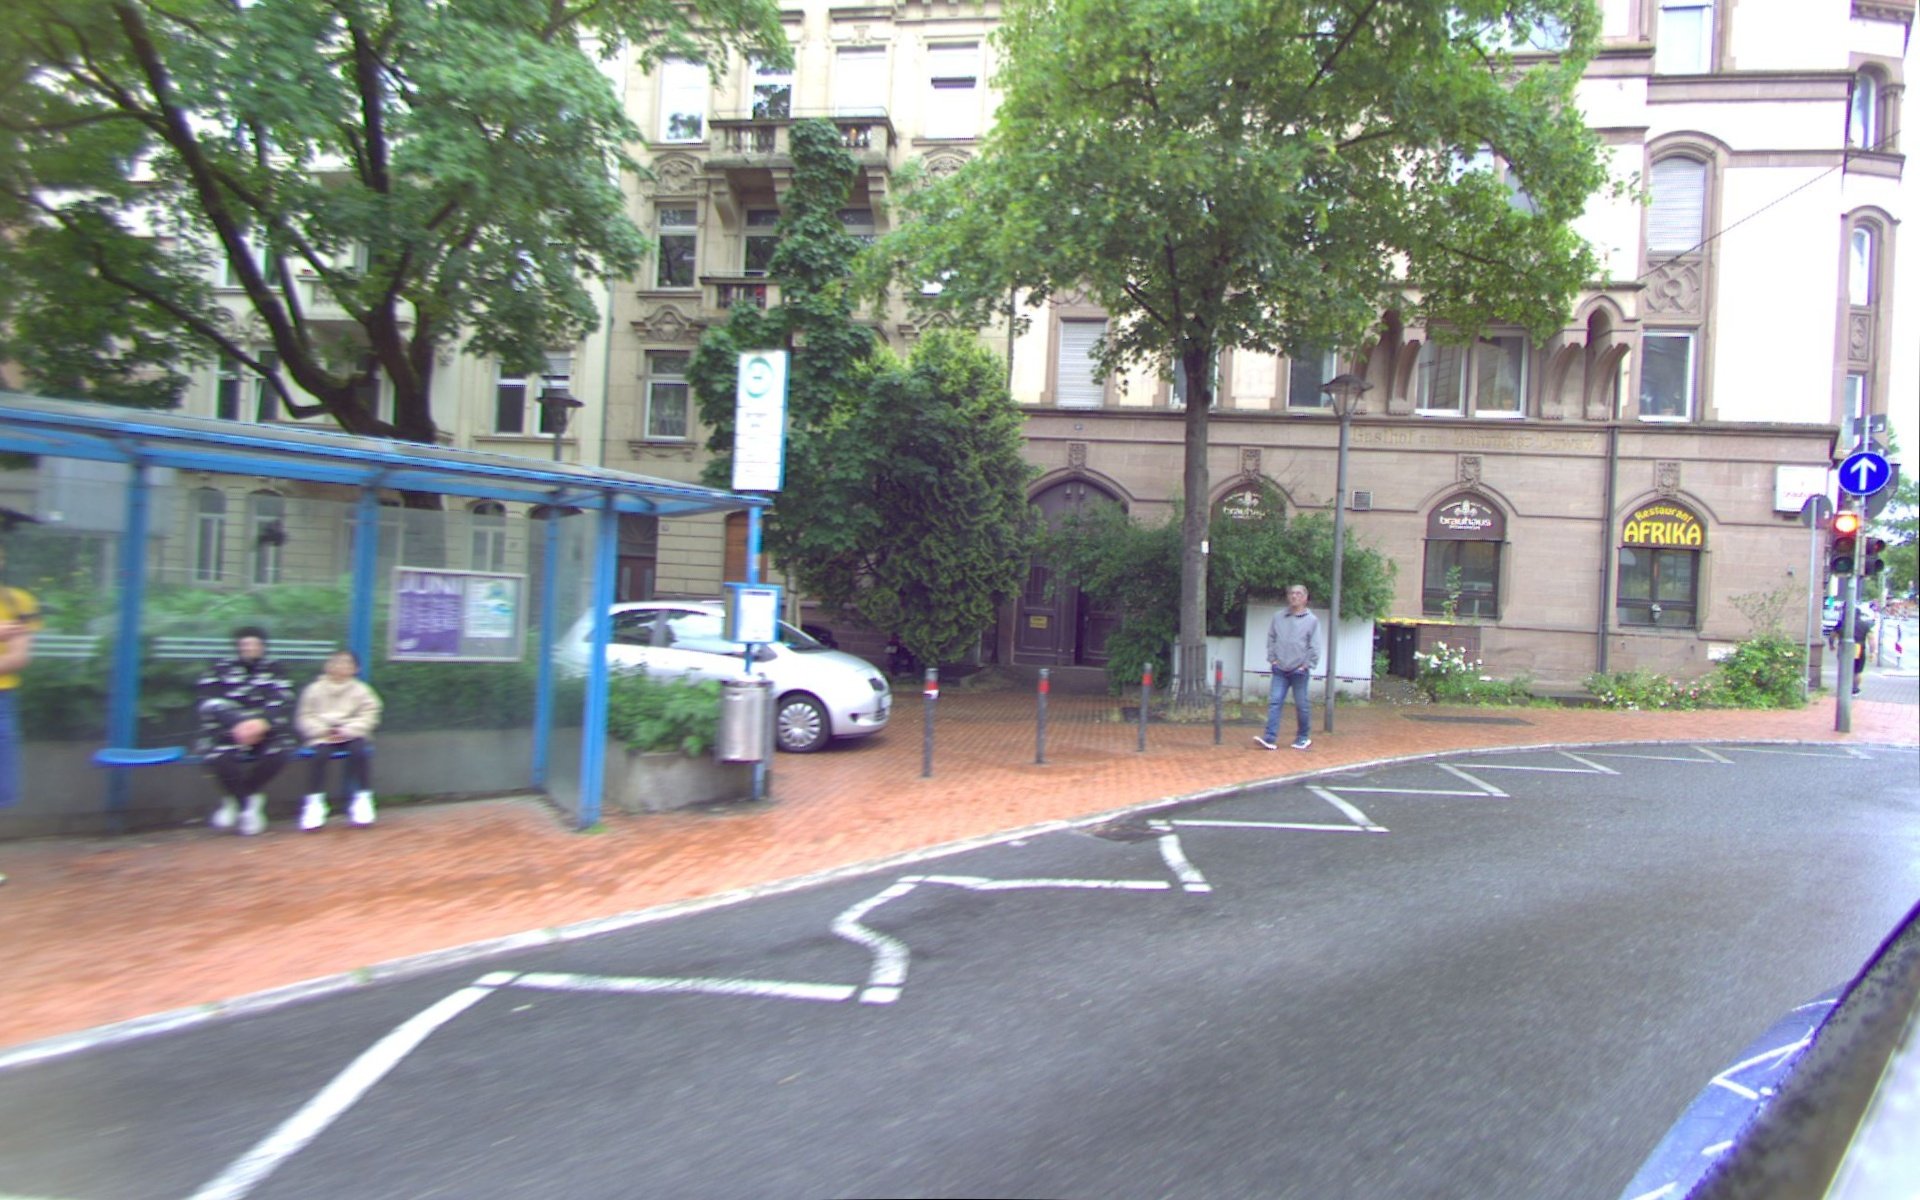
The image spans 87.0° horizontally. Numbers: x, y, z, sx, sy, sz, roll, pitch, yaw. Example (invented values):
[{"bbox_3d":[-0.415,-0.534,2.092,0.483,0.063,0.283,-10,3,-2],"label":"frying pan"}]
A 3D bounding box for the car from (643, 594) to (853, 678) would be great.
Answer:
[{"bbox_3d":[-4.125,0.656,19.578,3.769,1.495,1.775,0,-1,-20],"label":"car"}]

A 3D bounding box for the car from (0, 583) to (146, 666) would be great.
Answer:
[{"bbox_3d":[-17.038,0.426,17.735,1.680,1.414,4.323,0,-1,9],"label":"car"}]

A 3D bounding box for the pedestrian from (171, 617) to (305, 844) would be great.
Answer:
[{"bbox_3d":[-4.398,0.754,6.202,0.606,1.296,0.571,1,-1,-31],"label":"pedestrian"}]

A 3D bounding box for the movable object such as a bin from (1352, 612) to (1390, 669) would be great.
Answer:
[{"bbox_3d":[7.944,0.769,19.563,0.549,1.079,0.541,0,-1,7],"label":"movable object such as a bin"}]

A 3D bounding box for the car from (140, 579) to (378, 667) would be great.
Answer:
[{"bbox_3d":[-14.425,0.394,21.143,1.845,1.546,3.992,0,2,9],"label":"car"}]

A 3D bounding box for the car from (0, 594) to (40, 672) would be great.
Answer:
[{"bbox_3d":[-19.223,0.619,18.394,1.564,1.484,3.491,0,-1,9],"label":"car"}]

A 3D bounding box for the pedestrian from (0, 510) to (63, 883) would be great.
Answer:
[{"bbox_3d":[-4.946,0.467,5.019,0.534,1.798,0.561,0,-1,-17],"label":"pedestrian"}]

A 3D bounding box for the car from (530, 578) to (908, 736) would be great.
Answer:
[{"bbox_3d":[-2.504,0.614,10.977,3.613,1.522,1.766,-1,-2,8],"label":"car"}]

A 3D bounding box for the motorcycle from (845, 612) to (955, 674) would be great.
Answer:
[{"bbox_3d":[-1.211,0.852,20.440,2.153,1.204,0.555,0,-1,-19],"label":"motorcycle"}]

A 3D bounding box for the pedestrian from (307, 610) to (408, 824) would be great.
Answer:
[{"bbox_3d":[-3.871,0.712,6.521,0.524,1.296,0.571,1,-1,-31],"label":"pedestrian"}]

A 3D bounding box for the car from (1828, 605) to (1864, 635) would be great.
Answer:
[{"bbox_3d":[57.768,1.270,66.002,1.521,1.637,3.445,6,5,39],"label":"car"}]

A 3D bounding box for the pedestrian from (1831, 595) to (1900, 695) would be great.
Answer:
[{"bbox_3d":[16.199,0.782,18.102,0.828,1.699,0.879,2,1,45],"label":"pedestrian"}]

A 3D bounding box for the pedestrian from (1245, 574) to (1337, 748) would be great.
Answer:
[{"bbox_3d":[3.467,0.621,10.625,0.716,1.756,0.574,0,-1,-15],"label":"pedestrian"}]
